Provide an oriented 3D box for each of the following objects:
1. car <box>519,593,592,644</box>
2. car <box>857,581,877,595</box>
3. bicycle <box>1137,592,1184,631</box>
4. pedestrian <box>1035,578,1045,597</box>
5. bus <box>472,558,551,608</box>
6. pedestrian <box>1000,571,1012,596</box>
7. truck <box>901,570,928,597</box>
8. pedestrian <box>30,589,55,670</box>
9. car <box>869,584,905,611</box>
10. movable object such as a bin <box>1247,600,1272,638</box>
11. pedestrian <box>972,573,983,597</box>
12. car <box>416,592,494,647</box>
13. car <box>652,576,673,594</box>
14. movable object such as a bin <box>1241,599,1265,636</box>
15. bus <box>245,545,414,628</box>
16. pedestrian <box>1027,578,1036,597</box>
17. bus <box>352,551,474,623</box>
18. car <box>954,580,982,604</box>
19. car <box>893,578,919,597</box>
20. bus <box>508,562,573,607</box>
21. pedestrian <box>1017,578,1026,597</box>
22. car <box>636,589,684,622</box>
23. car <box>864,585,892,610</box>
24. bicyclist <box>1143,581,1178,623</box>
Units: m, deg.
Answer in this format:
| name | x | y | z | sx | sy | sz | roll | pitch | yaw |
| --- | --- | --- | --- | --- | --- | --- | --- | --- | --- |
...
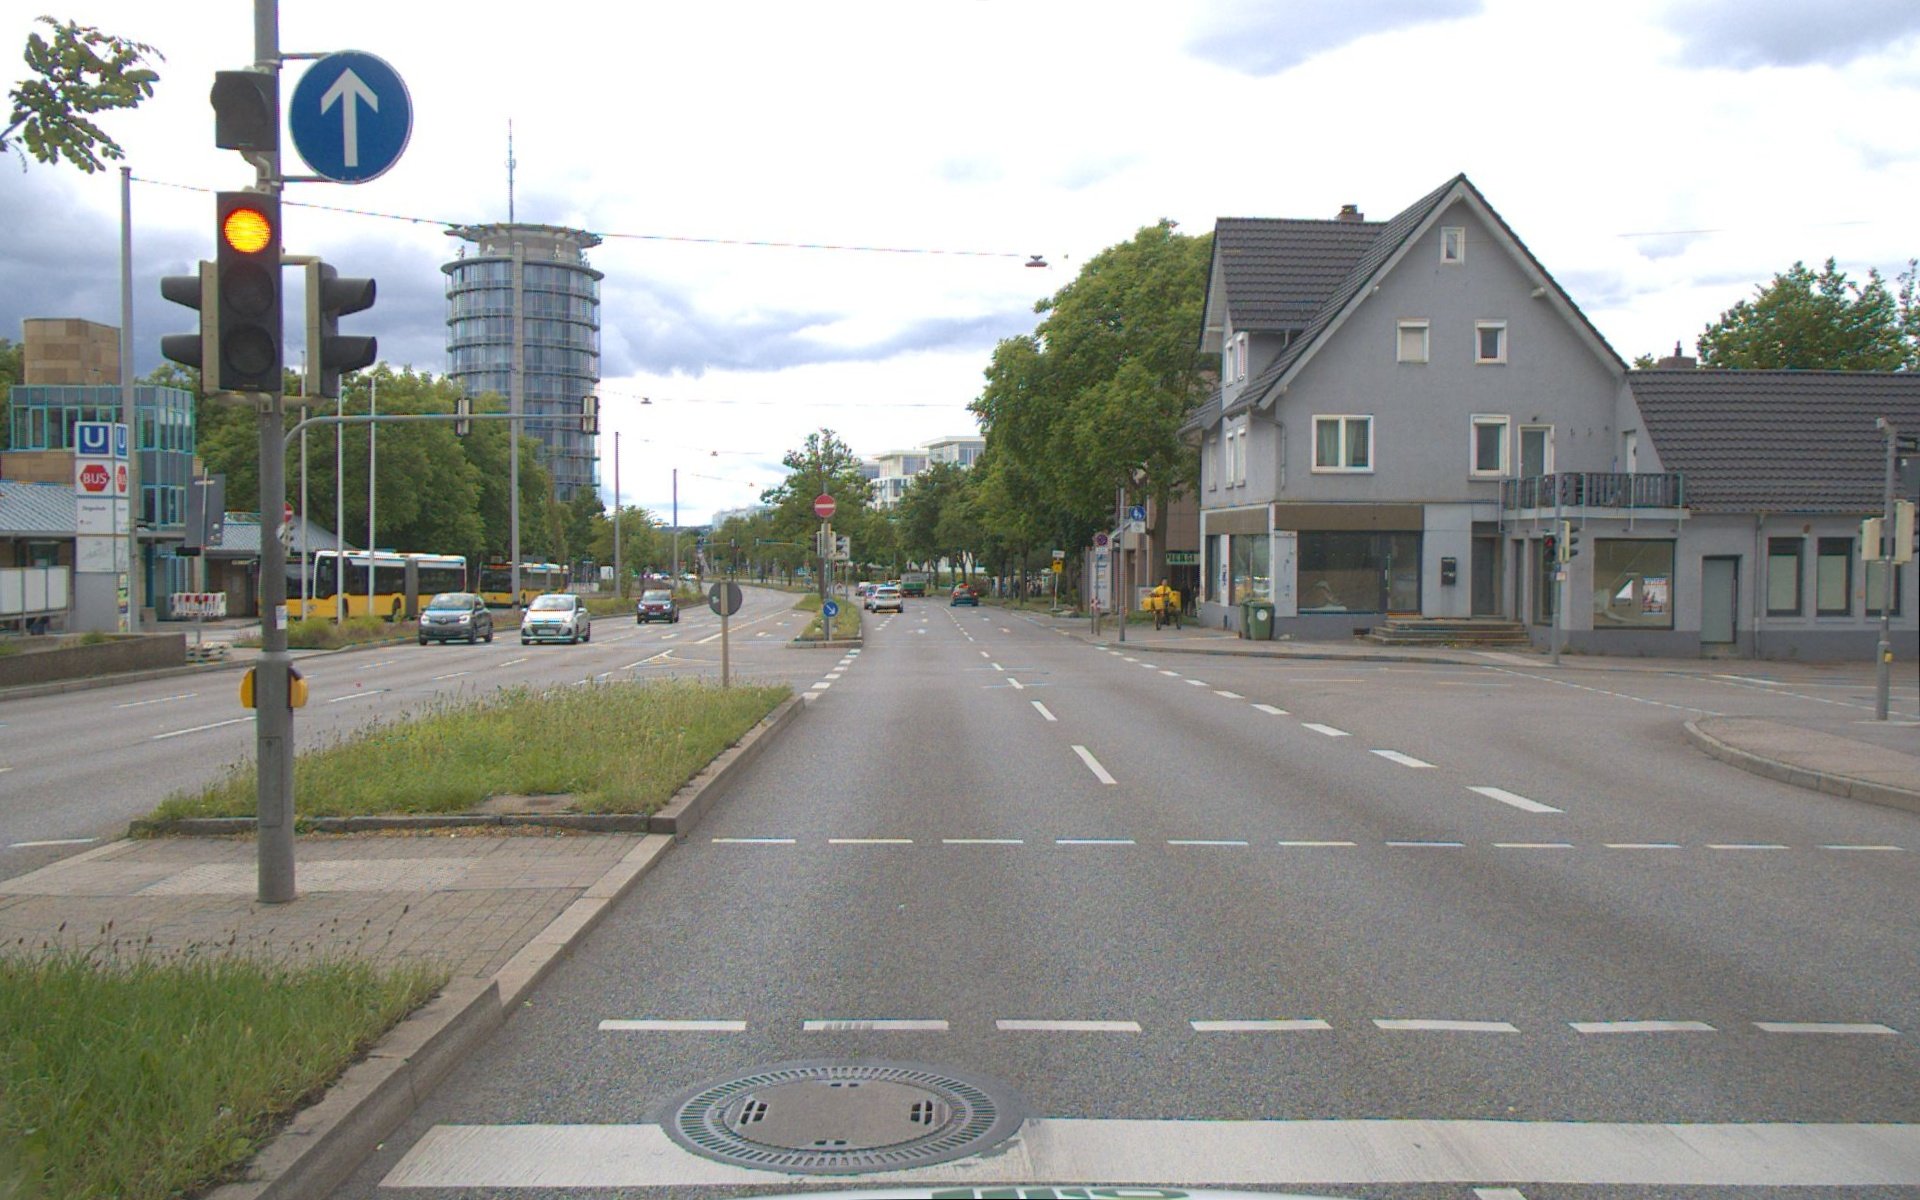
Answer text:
| name | x | y | z | sx | sy | sz | roll | pitch | yaw |
| --- | --- | --- | --- | --- | --- | --- | --- | --- | --- |
| car | -12.365 | 0.552 | 50.720 | 1.651 | 1.488 | 3.552 | 0 | 0 | -5 |
| car | -9.721 | -1.265 | 173.017 | 1.929 | 1.444 | 4.017 | 0 | 0 | -6 |
| bicycle | 6.649 | 0.371 | 54.674 | 1.051 | 1.239 | 2.440 | -1 | 0 | 18 |
| pedestrian | 6.579 | -1.037 | 136.178 | 0.638 | 1.597 | 0.669 | 0 | 0 | -9 |
| bus | -30.786 | -1.116 | 114.006 | 3.082 | 3.281 | 10.279 | 0 | 0 | -3 |
| pedestrian | 3.821 | -1.343 | 137.857 | 0.951 | 2.049 | 0.981 | 1 | -1 | -2 |
| truck | -4.349 | -1.540 | 156.420 | 2.207 | 2.459 | 4.927 | 0 | 0 | -5 |
| pedestrian | -18.397 | 0.583 | 33.164 | 0.414 | 1.619 | 0.353 | 0 | 0 | -30 |
| car | -4.224 | -0.149 | 96.330 | 1.953 | 1.503 | 4.255 | 0 | 0 | -1 |
| movable object such as a bin | 7.997 | 0.495 | 44.156 | 0.518 | 0.997 | 0.736 | 0 | 0 | -1 |
| pedestrian | 1.753 | -1.462 | 164.178 | 0.914 | 2.349 | 1.008 | 1 | -1 | -10 |
| car | -15.474 | 0.567 | 50.808 | 1.652 | 1.606 | 3.344 | 0 | 0 | -6 |
| car | -35.908 | -1.832 | 199.736 | 1.925 | 2.049 | 3.999 | 1 | 0 | -1 |
| movable object such as a bin | 7.967 | 0.481 | 44.946 | 0.518 | 0.997 | 0.736 | 0 | 0 | -1 |
| bus | -27.083 | -0.557 | 71.687 | 2.927 | 3.307 | 10.174 | -1 | 0 | 3 |
| pedestrian | 5.871 | -1.048 | 136.197 | 0.638 | 1.597 | 0.669 | 0 | 0 | -9 |
| bus | -26.546 | -0.610 | 80.712 | 2.927 | 3.327 | 7.879 | -1 | 0 | 3 |
| car | 0.509 | -0.524 | 112.815 | 1.850 | 1.521 | 4.098 | -2 | -1 | 0 |
| car | -5.403 | -1.248 | 164.997 | 2.207 | 1.787 | 4.927 | 0 | 0 | -5 |
| bus | -31.148 | -1.131 | 123.004 | 3.081 | 3.281 | 7.762 | 0 | 0 | -2 |
| pedestrian | 5.065 | -1.031 | 136.331 | 0.638 | 1.597 | 0.669 | 0 | 0 | -9 |
| car | -14.011 | 0.239 | 77.413 | 1.668 | 1.518 | 3.561 | -1 | 0 | -2 |
| car | -5.338 | -0.160 | 107.737 | 1.786 | 1.567 | 4.111 | 0 | 0 | -4 |
| bicyclist | 6.630 | 0.061 | 54.642 | 1.051 | 1.380 | 0.628 | -1 | 0 | 18 |
